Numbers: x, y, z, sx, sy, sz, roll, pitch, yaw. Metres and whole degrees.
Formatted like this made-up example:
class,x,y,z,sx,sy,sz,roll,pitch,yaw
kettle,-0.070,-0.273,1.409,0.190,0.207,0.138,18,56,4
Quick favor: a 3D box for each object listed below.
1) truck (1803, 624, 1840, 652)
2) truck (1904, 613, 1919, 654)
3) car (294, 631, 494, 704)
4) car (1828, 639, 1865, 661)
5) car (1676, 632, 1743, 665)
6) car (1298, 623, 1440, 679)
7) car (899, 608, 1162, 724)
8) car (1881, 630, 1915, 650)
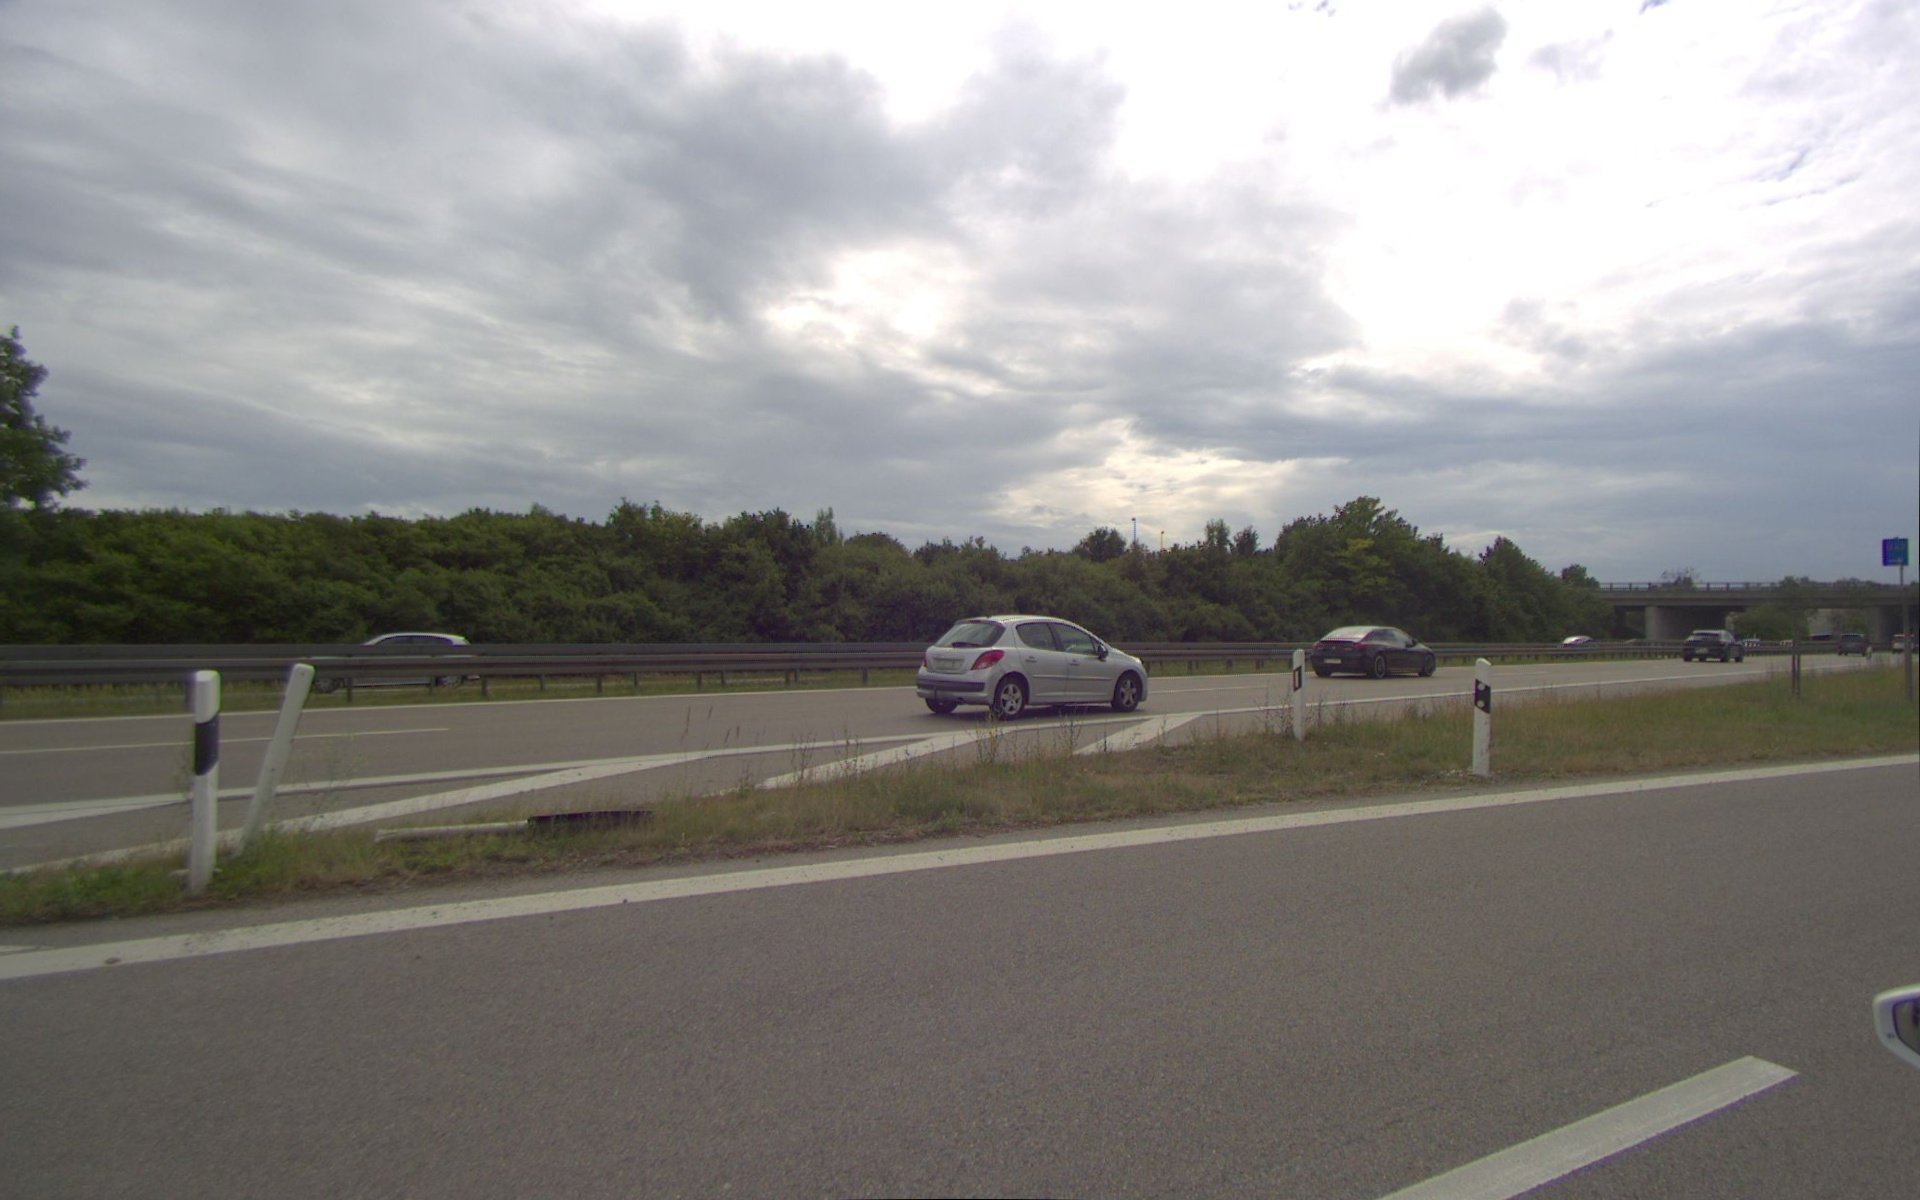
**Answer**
class,x,y,z,sx,sy,sz,roll,pitch,yaw
truck,119.635,5.250,139.384,8.132,3.694,2.735,2,-2,-41
truck,84.149,2.967,87.181,7.862,3.415,2.446,3,-3,-41
car,-13.793,1.591,24.601,3.970,1.617,1.787,2,-2,-42
car,74.123,4.188,83.970,4.302,1.782,1.829,2,-2,-41
car,41.167,2.632,55.143,4.791,1.766,1.977,2,-3,-41
car,12.179,1.491,29.765,4.741,1.529,1.977,2,-2,-41
car,1.164,0.951,15.342,3.967,1.539,1.703,2,-2,-40
car,91.241,3.879,97.707,3.968,1.834,1.977,2,-2,-40
